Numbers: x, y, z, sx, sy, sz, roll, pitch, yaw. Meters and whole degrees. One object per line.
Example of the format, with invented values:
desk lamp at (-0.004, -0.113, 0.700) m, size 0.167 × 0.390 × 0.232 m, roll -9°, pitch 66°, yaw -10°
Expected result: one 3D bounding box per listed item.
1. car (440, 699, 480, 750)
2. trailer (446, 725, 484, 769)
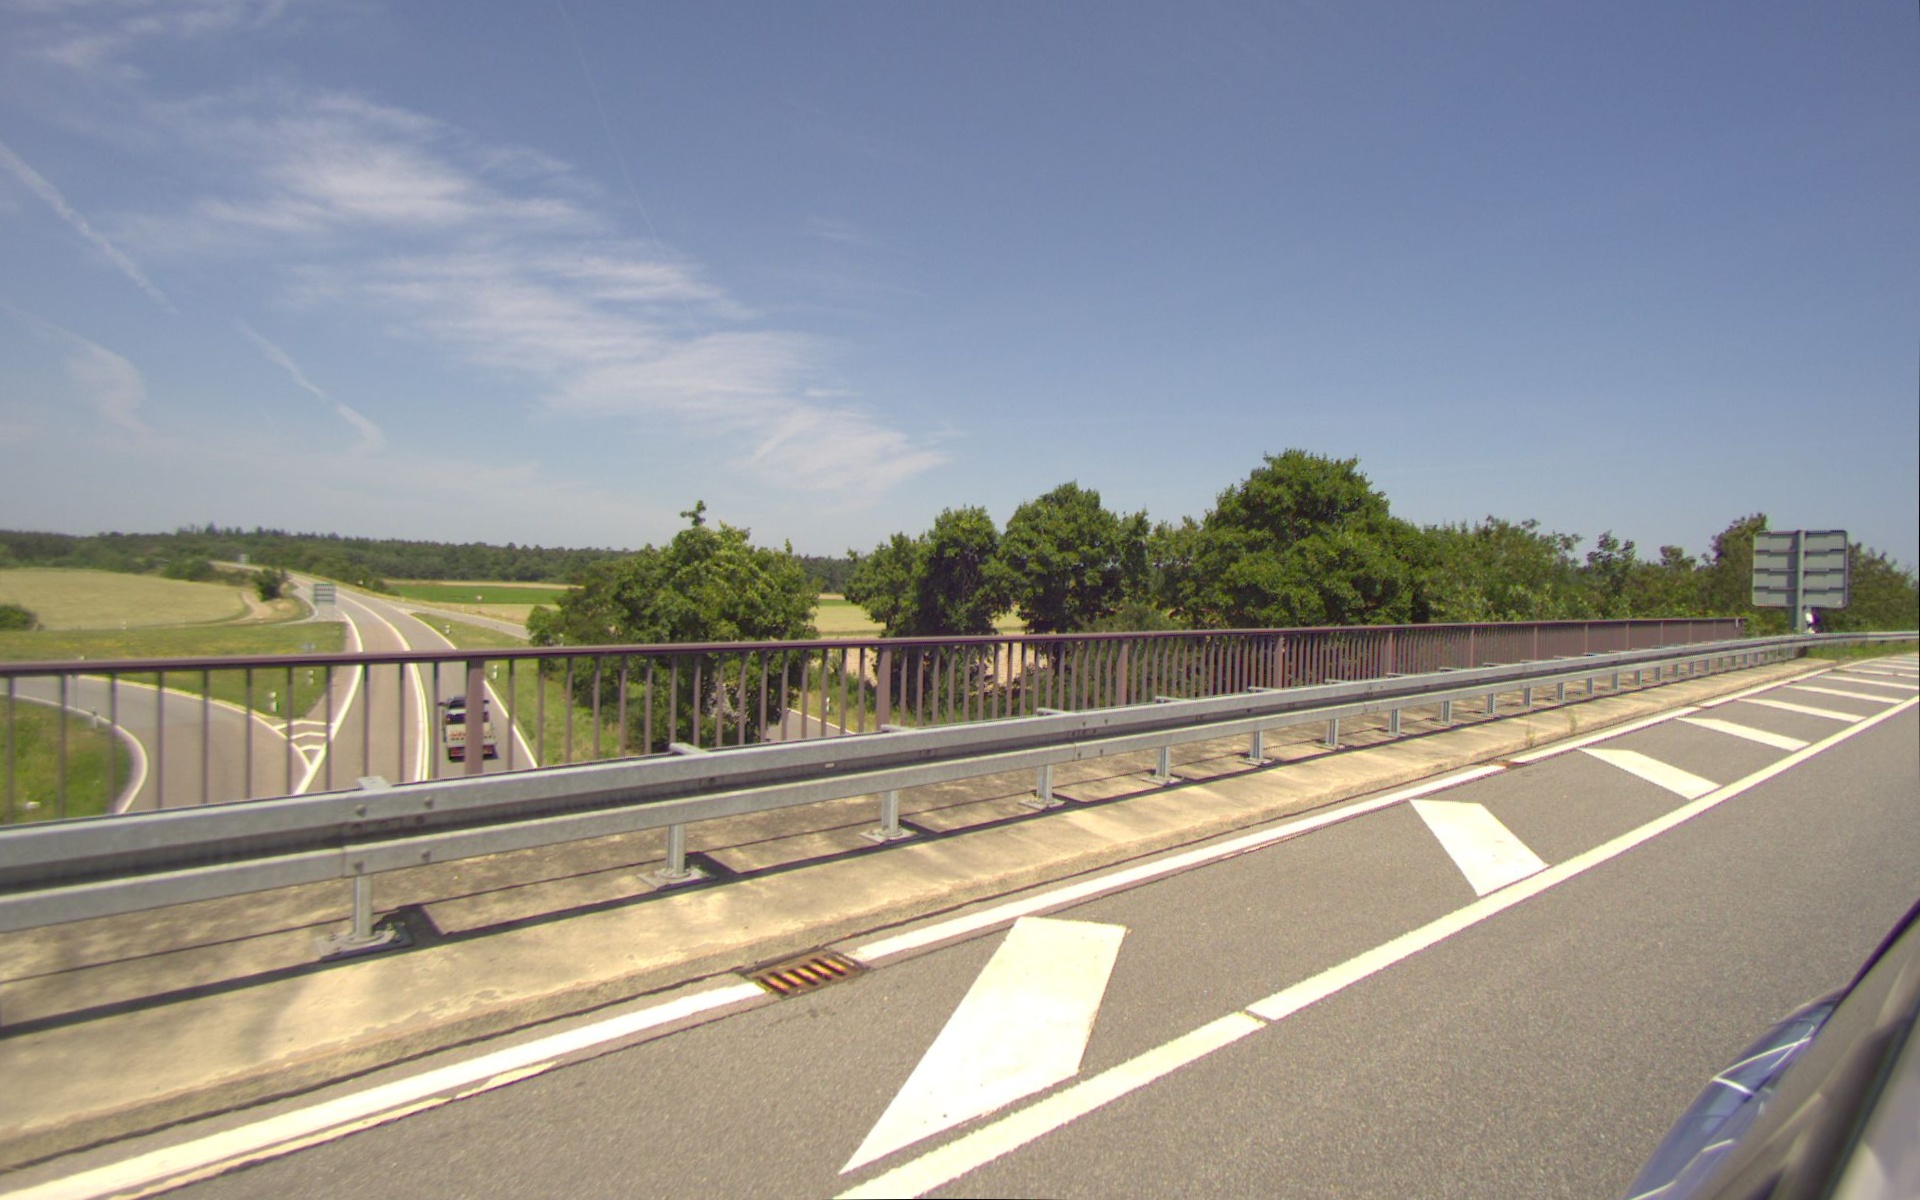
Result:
car at (-21.864, 5.385, 44.213) m, size 1.477 × 1.615 × 3.674 m, roll 0°, pitch 2°, yaw -28°
trailer at (-19.884, 5.850, 40.574) m, size 1.241 × 1.060 × 4.484 m, roll 0°, pitch 1°, yaw -28°
